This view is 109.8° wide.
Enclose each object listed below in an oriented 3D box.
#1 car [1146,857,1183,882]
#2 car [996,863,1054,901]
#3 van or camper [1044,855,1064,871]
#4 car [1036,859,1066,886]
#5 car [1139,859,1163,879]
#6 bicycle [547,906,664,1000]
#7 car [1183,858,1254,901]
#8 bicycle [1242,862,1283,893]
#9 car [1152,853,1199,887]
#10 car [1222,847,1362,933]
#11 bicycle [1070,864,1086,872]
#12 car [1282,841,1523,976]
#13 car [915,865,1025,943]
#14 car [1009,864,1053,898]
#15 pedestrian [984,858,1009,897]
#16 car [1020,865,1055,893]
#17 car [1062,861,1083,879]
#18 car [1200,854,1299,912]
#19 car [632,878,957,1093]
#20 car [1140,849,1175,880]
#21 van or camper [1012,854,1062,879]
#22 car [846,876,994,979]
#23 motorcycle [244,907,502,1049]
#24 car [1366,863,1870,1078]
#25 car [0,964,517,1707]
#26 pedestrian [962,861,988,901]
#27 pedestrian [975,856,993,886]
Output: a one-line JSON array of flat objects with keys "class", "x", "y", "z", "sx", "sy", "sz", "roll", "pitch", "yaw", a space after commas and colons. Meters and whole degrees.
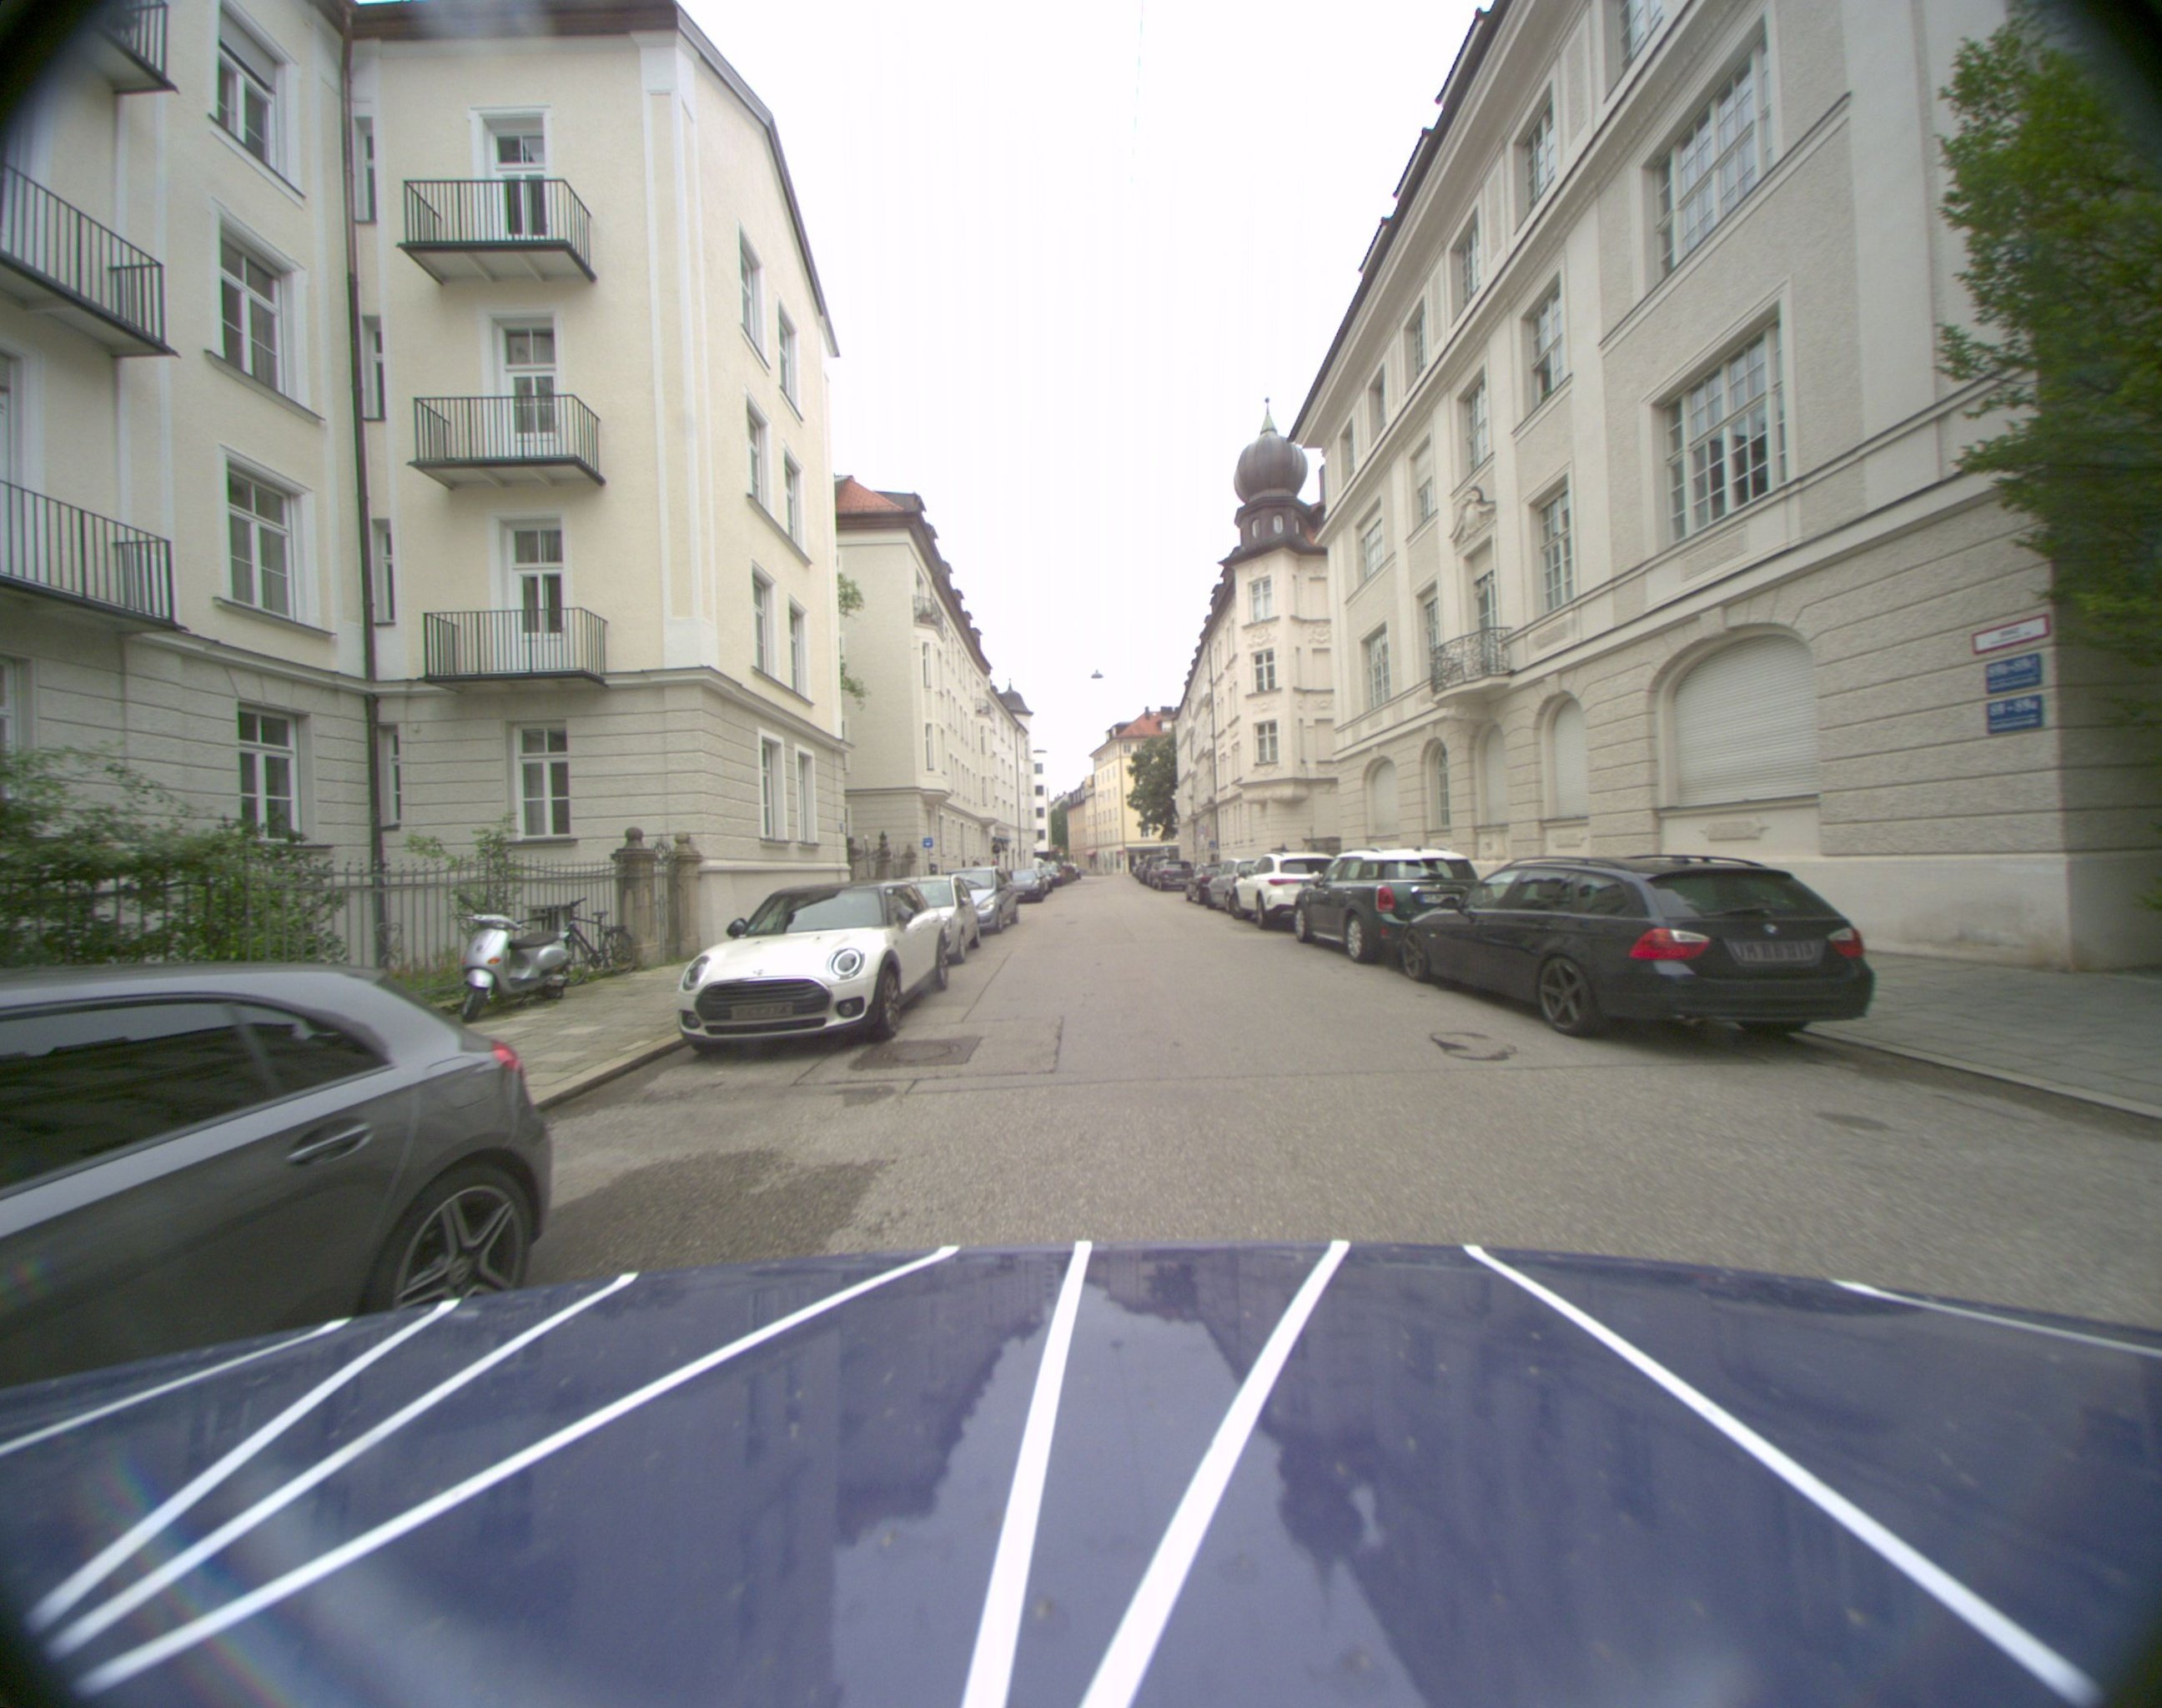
[{"class": "car", "x": 4.827, "y": 0.895, "z": 44.449, "sx": 1.841, "sy": 1.386, "sz": 4.245, "roll": 0, "pitch": -1, "yaw": 2}, {"class": "car", "x": -2.401, "y": 1.175, "z": 33.749, "sx": 1.998, "sy": 1.449, "sz": 4.713, "roll": -3, "pitch": 0, "yaw": 2}, {"class": "van or camper", "x": -4.357, "y": 1.434, "z": 120.368, "sx": 1.968, "sy": 2.494, "sz": 5.717, "roll": -2, "pitch": -1, "yaw": -13}, {"class": "car", "x": -2.059, "y": 1.284, "z": 53.200, "sx": 1.804, "sy": 1.665, "sz": 4.189, "roll": -4, "pitch": -1, "yaw": 0}, {"class": "car", "x": 6.122, "y": 1.288, "z": 66.667, "sx": 1.880, "sy": 1.590, "sz": 4.435, "roll": -2, "pitch": -1, "yaw": 4}, {"class": "bicycle", "x": -6.781, "y": 1.370, "z": 10.961, "sx": 0.435, "sy": 1.119, "sz": 1.882, "roll": -2, "pitch": 0, "yaw": 1}, {"class": "car", "x": 4.801, "y": 0.855, "z": 27.075, "sx": 1.797, "sy": 1.407, "sz": 4.278, "roll": 0, "pitch": 0, "yaw": 0}, {"class": "bicycle", "x": 8.201, "y": 1.045, "z": 34.512, "sx": 1.154, "sy": 1.235, "sz": 2.716, "roll": -6, "pitch": 0, "yaw": 1}, {"class": "car", "x": 4.698, "y": 0.752, "z": 38.267, "sx": 1.731, "sy": 1.609, "sz": 4.121, "roll": 0, "pitch": 0, "yaw": -1}, {"class": "car", "x": 4.546, "y": 0.728, "z": 17.131, "sx": 1.920, "sy": 1.609, "sz": 4.572, "roll": -2, "pitch": -1, "yaw": 1}, {"class": "bicycle", "x": -0.363, "y": 1.829, "z": 101.399, "sx": 1.995, "sy": 0.958, "sz": 0.973, "roll": -2, "pitch": 0, "yaw": -10}, {"class": "car", "x": 4.582, "y": 0.706, "z": 11.640, "sx": 1.841, "sy": 1.609, "sz": 4.245, "roll": -2, "pitch": -1, "yaw": 0}, {"class": "car", "x": -2.626, "y": 1.145, "z": 19.059, "sx": 1.826, "sy": 1.560, "sz": 4.401, "roll": -5, "pitch": -1, "yaw": 2}, {"class": "car", "x": -2.470, "y": 1.342, "z": 38.552, "sx": 1.765, "sy": 1.477, "sz": 4.421, "roll": -5, "pitch": -1, "yaw": 1}, {"class": "pedestrian", "x": -3.942, "y": 1.082, "z": 35.389, "sx": 0.885, "sy": 1.801, "sz": 1.111, "roll": -2, "pitch": 0, "yaw": 5}, {"class": "car", "x": -2.474, "y": 1.418, "z": 43.992, "sx": 1.841, "sy": 1.391, "sz": 4.973, "roll": -4, "pitch": -1, "yaw": -3}, {"class": "car", "x": -0.853, "y": 1.630, "z": 77.350, "sx": 1.841, "sy": 1.609, "sz": 4.095, "roll": -5, "pitch": -1, "yaw": 2}, {"class": "car", "x": 4.817, "y": 0.773, "z": 22.379, "sx": 1.787, "sy": 1.532, "sz": 4.256, "roll": 0, "pitch": 0, "yaw": -3}, {"class": "car", "x": -2.599, "y": 1.103, "z": 8.038, "sx": 1.789, "sy": 1.495, "sz": 4.065, "roll": -3, "pitch": 0, "yaw": 0}, {"class": "car", "x": 4.944, "y": 0.692, "z": 49.898, "sx": 1.841, "sy": 1.883, "sz": 4.763, "roll": 0, "pitch": -1, "yaw": 0}, {"class": "van or camper", "x": -5.432, "y": 1.555, "z": 93.607, "sx": 5.869, "sy": 2.696, "sz": 2.304, "roll": -2, "pitch": -3, "yaw": -6}, {"class": "car", "x": -2.667, "y": 1.182, "z": 13.365, "sx": 1.758, "sy": 1.398, "sz": 3.452, "roll": -3, "pitch": 0, "yaw": 0}, {"class": "motorcycle", "x": -6.887, "y": 1.143, "z": 7.566, "sx": 0.608, "sy": 1.105, "sz": 1.965, "roll": -2, "pitch": 0, "yaw": 4}, {"class": "car", "x": 4.525, "y": 0.829, "z": 7.426, "sx": 1.791, "sy": 1.404, "sz": 4.367, "roll": -2, "pitch": -1, "yaw": 0}, {"class": "car", "x": -2.799, "y": 1.165, "z": 0.624, "sx": 1.688, "sy": 1.495, "sz": 4.017, "roll": -3, "pitch": 0, "yaw": -2}, {"class": "pedestrian", "x": -4.937, "y": 1.245, "z": 35.496, "sx": 0.885, "sy": 1.776, "sz": 1.112, "roll": -2, "pitch": 0, "yaw": 7}, {"class": "pedestrian", "x": -5.977, "y": 1.053, "z": 46.726, "sx": 0.885, "sy": 1.802, "sz": 1.111, "roll": -2, "pitch": 0, "yaw": 2}]
